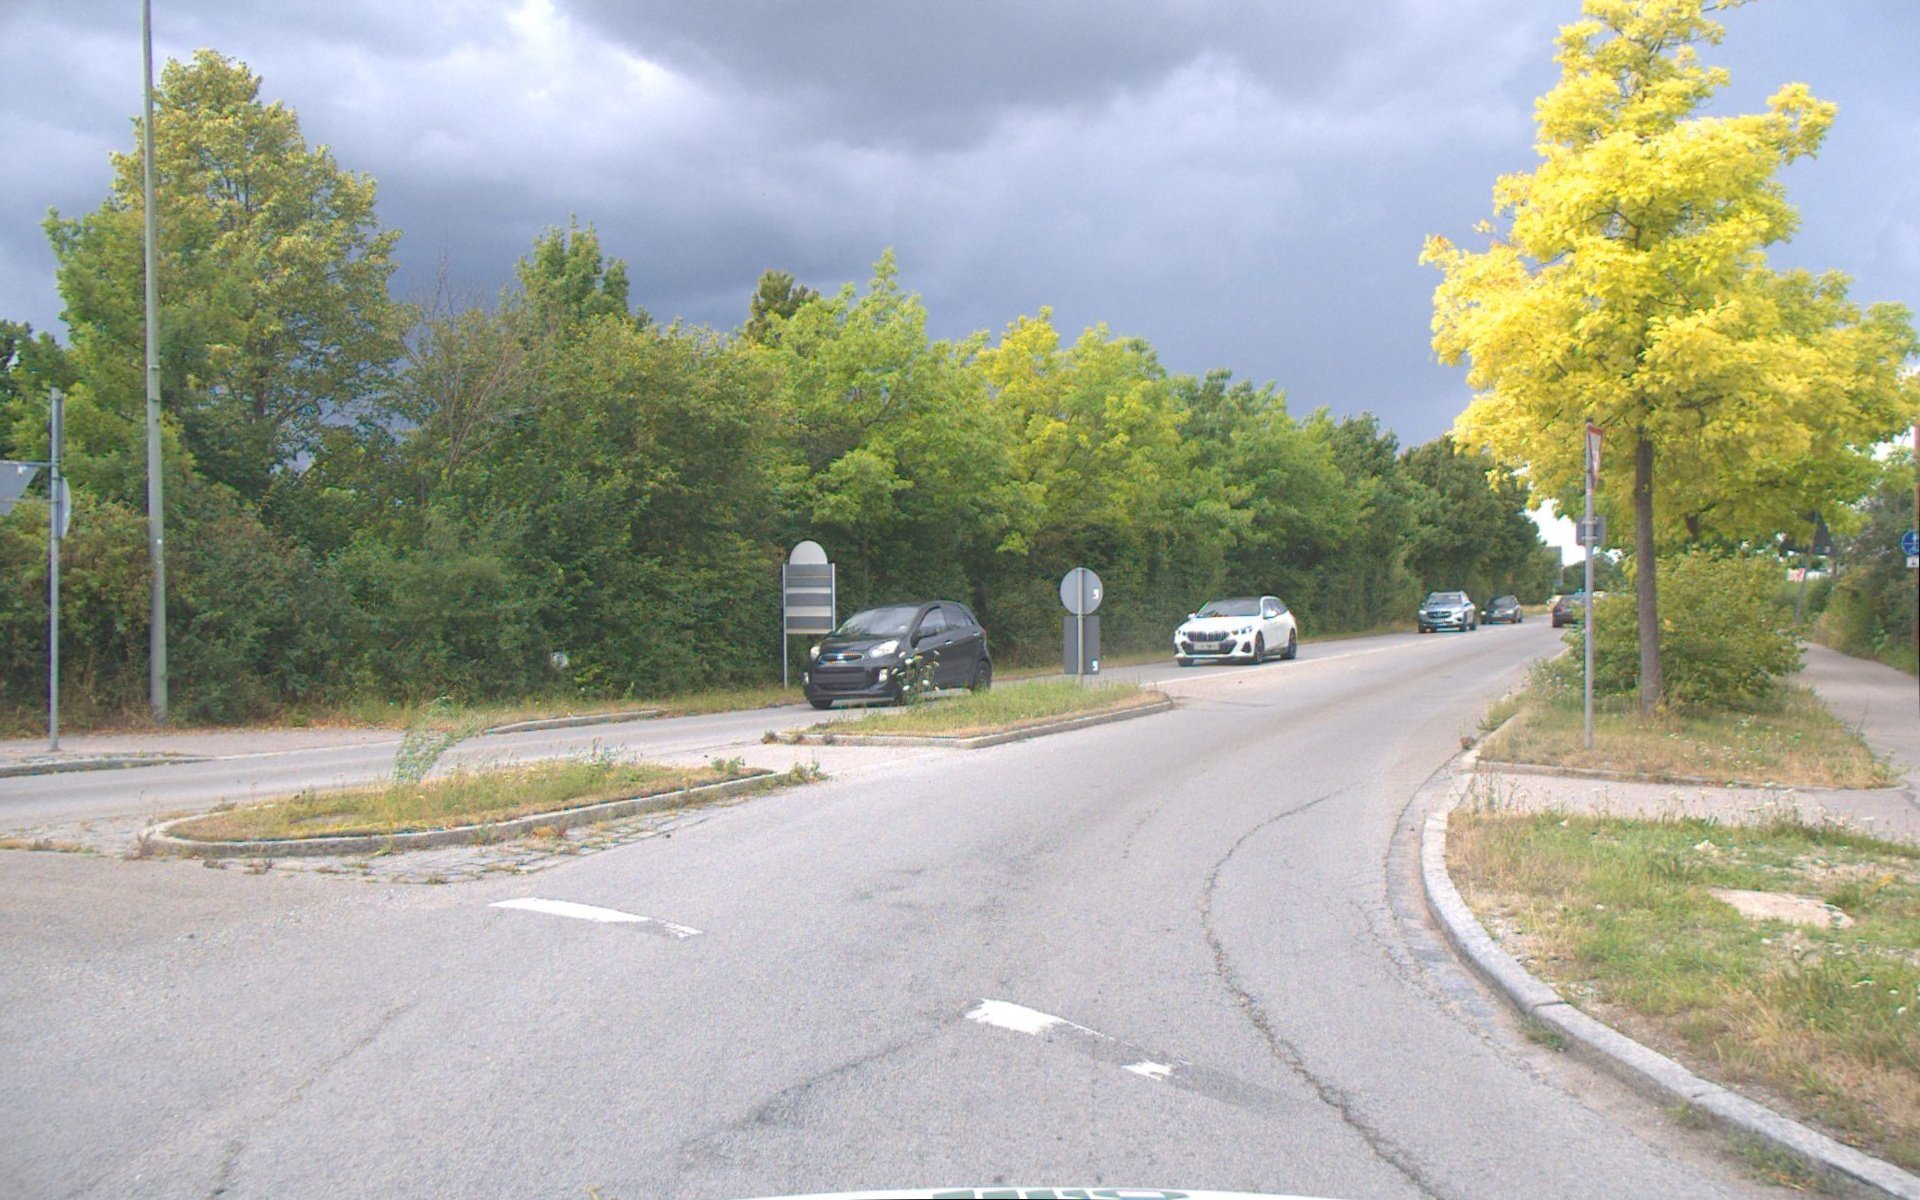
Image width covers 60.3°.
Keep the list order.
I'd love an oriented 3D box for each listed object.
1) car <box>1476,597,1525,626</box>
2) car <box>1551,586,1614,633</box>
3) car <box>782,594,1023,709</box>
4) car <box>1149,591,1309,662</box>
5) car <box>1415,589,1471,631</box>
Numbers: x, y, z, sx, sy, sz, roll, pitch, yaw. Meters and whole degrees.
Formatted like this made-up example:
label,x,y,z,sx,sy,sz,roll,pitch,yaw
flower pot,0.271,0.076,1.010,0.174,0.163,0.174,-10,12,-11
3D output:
label,x,y,z,sx,sy,sz,roll,pitch,yaw
car,28.161,0.611,86.100,1.953,1.444,4.476,-2,-2,23
car,27.122,0.432,71.964,2.324,1.913,4.476,-2,-2,23
car,-0.751,0.678,24.286,1.651,1.479,3.992,1,1,30
car,6.251,0.572,37.973,2.170,1.479,4.937,-2,0,27
car,19.995,0.432,68.334,1.952,1.629,4.666,-2,-2,19
